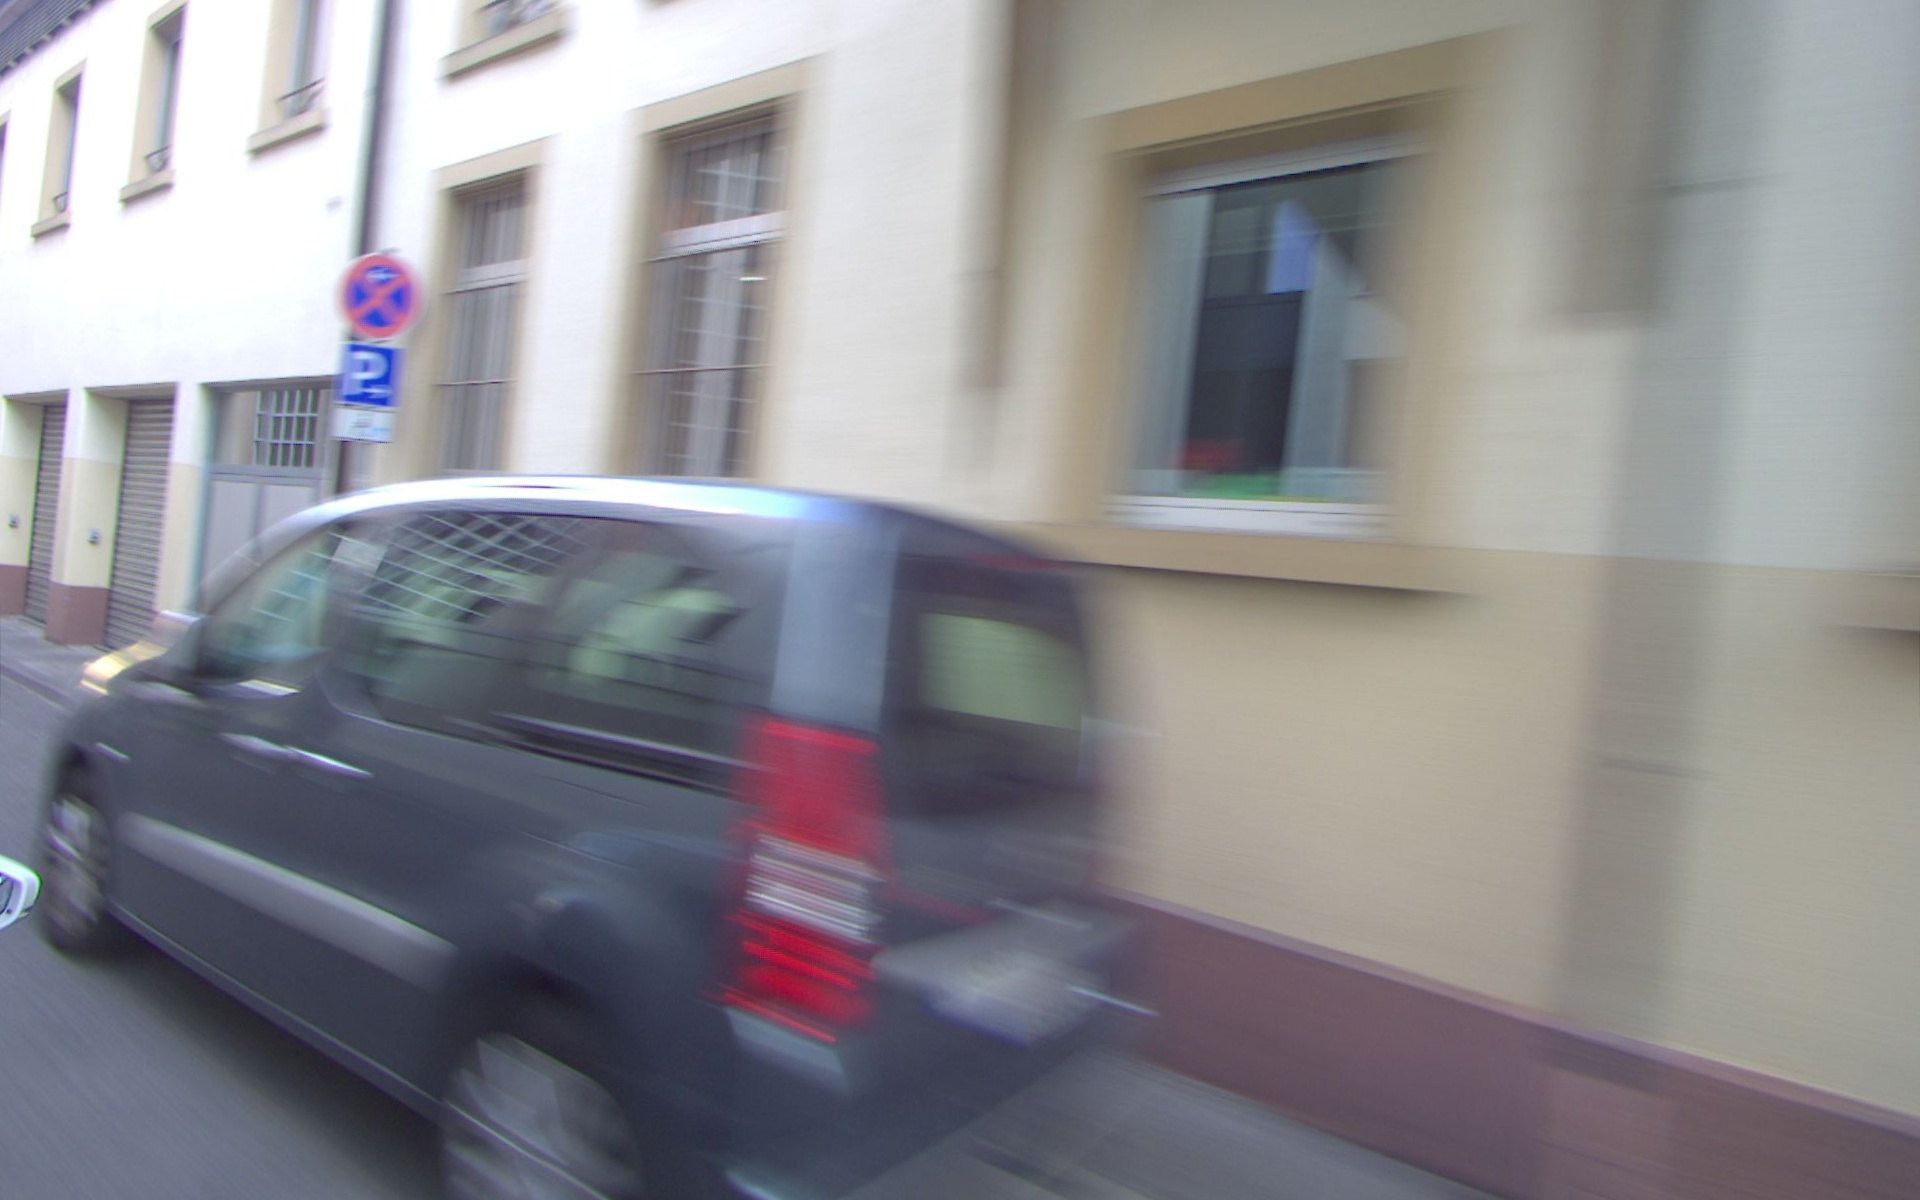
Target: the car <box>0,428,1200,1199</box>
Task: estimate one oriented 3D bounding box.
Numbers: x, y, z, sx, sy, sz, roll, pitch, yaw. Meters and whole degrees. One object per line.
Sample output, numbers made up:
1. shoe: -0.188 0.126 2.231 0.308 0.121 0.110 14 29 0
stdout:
1. car: -1.534 0.506 3.538 4.094 1.777 1.858 7 -1 32
